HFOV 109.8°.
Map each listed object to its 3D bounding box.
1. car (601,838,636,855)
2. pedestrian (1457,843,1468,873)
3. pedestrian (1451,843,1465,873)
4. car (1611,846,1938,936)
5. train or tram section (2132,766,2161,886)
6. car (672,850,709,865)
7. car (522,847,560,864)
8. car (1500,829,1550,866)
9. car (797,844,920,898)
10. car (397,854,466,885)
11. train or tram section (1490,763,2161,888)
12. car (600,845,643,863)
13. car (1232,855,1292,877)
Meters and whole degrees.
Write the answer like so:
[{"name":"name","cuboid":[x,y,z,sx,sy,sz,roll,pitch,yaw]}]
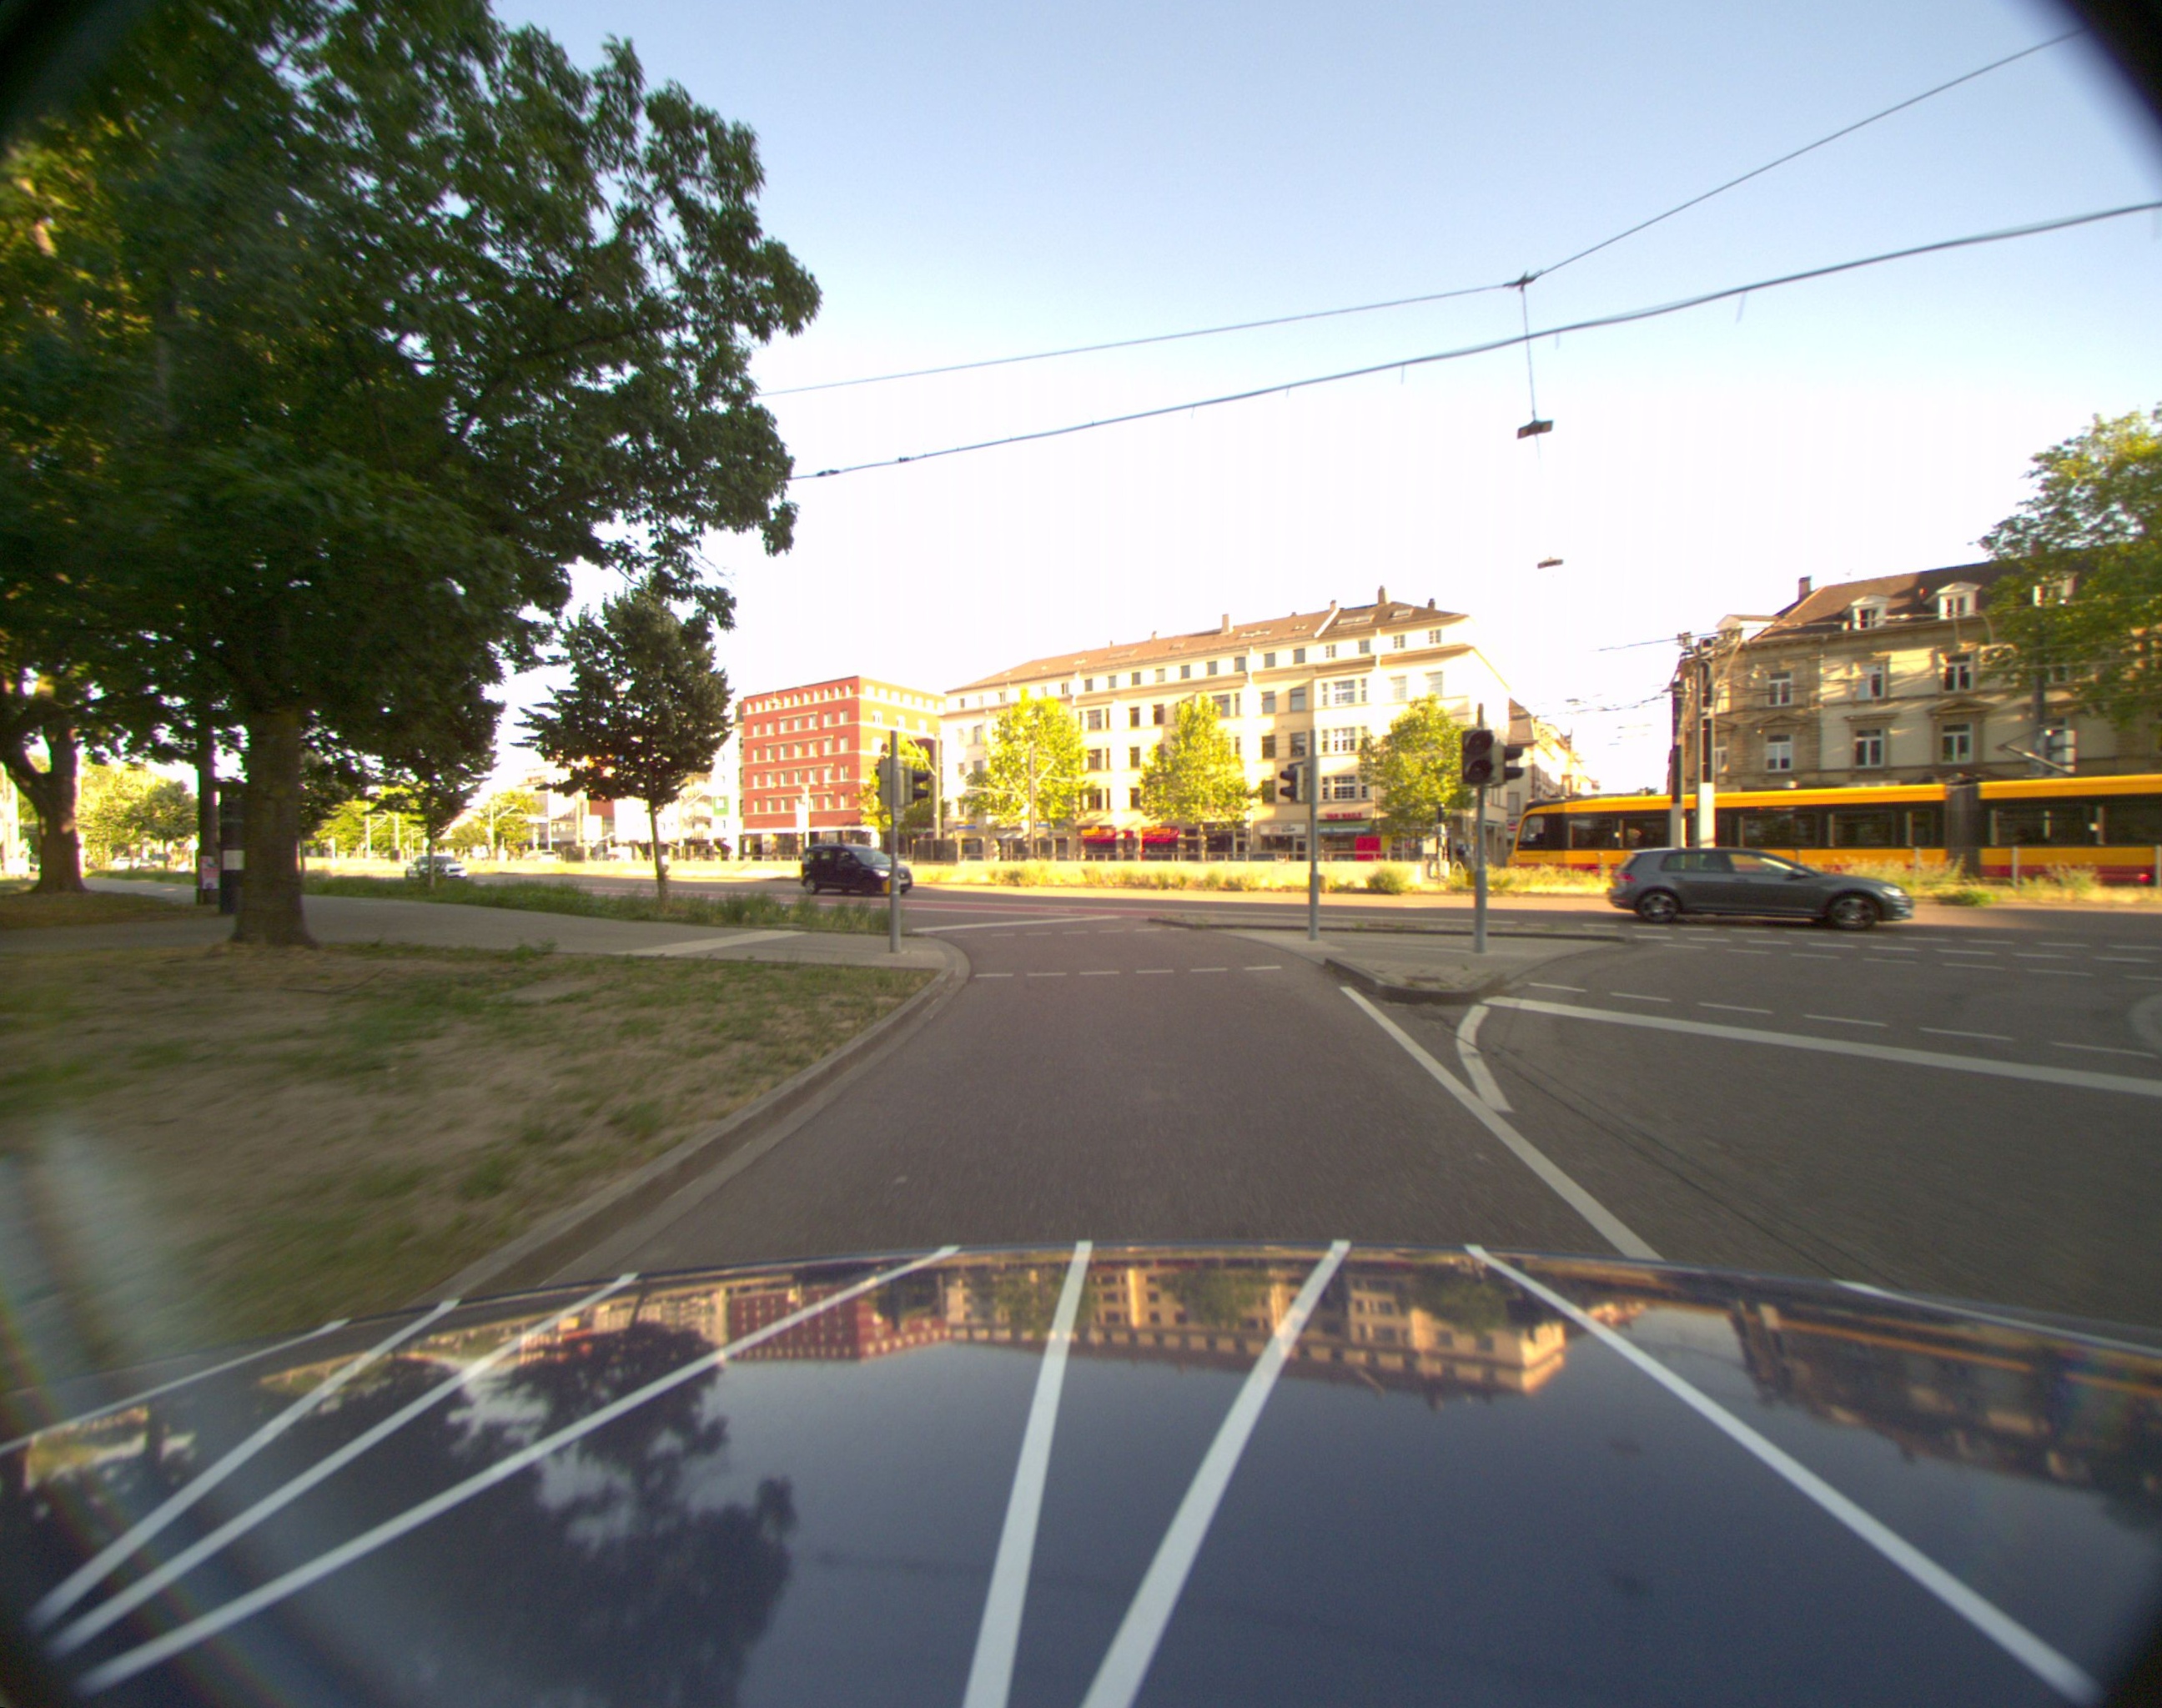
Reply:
[{"name":"car","cuboid":[-58.847,-0.917,96.648,4.560,2.121,1.963,0,1,33]},{"name":"pedestrian","cuboid":[24.508,0.260,48.815,0.584,1.908,0.634,1,4,35]},{"name":"pedestrian","cuboid":[24.572,0.226,49.528,0.634,1.908,0.584,-3,4,-36]},{"name":"car","cuboid":[12.477,0.614,14.112,4.233,1.418,1.774,-1,2,32]},{"name":"train or tram section","cuboid":[39.815,-0.821,16.433,19.873,3.538,3.129,0,1,38]},{"name":"car","cuboid":[-47.943,0.435,93.254,4.728,1.787,2.004,0,1,34]},{"name":"car","cuboid":[-64.430,0.189,90.610,4.761,2.002,2.004,0,1,32]},{"name":"car","cuboid":[28.789,-0.427,49.476,2.464,2.253,7.304,0,1,28]},{"name":"car","cuboid":[-7.765,0.551,26.436,4.136,1.722,1.774,0,1,32]},{"name":"car","cuboid":[-34.616,0.785,40.475,4.266,1.528,1.838,0,2,36]},{"name":"train or tram section","cuboid":[25.321,-0.848,28.366,17.425,3.538,3.129,0,1,41]},{"name":"car","cuboid":[-47.934,-0.042,79.258,4.965,1.808,2.004,0,1,35]},{"name":"car","cuboid":[12.341,0.780,51.787,3.699,1.325,1.461,1,3,34]}]
